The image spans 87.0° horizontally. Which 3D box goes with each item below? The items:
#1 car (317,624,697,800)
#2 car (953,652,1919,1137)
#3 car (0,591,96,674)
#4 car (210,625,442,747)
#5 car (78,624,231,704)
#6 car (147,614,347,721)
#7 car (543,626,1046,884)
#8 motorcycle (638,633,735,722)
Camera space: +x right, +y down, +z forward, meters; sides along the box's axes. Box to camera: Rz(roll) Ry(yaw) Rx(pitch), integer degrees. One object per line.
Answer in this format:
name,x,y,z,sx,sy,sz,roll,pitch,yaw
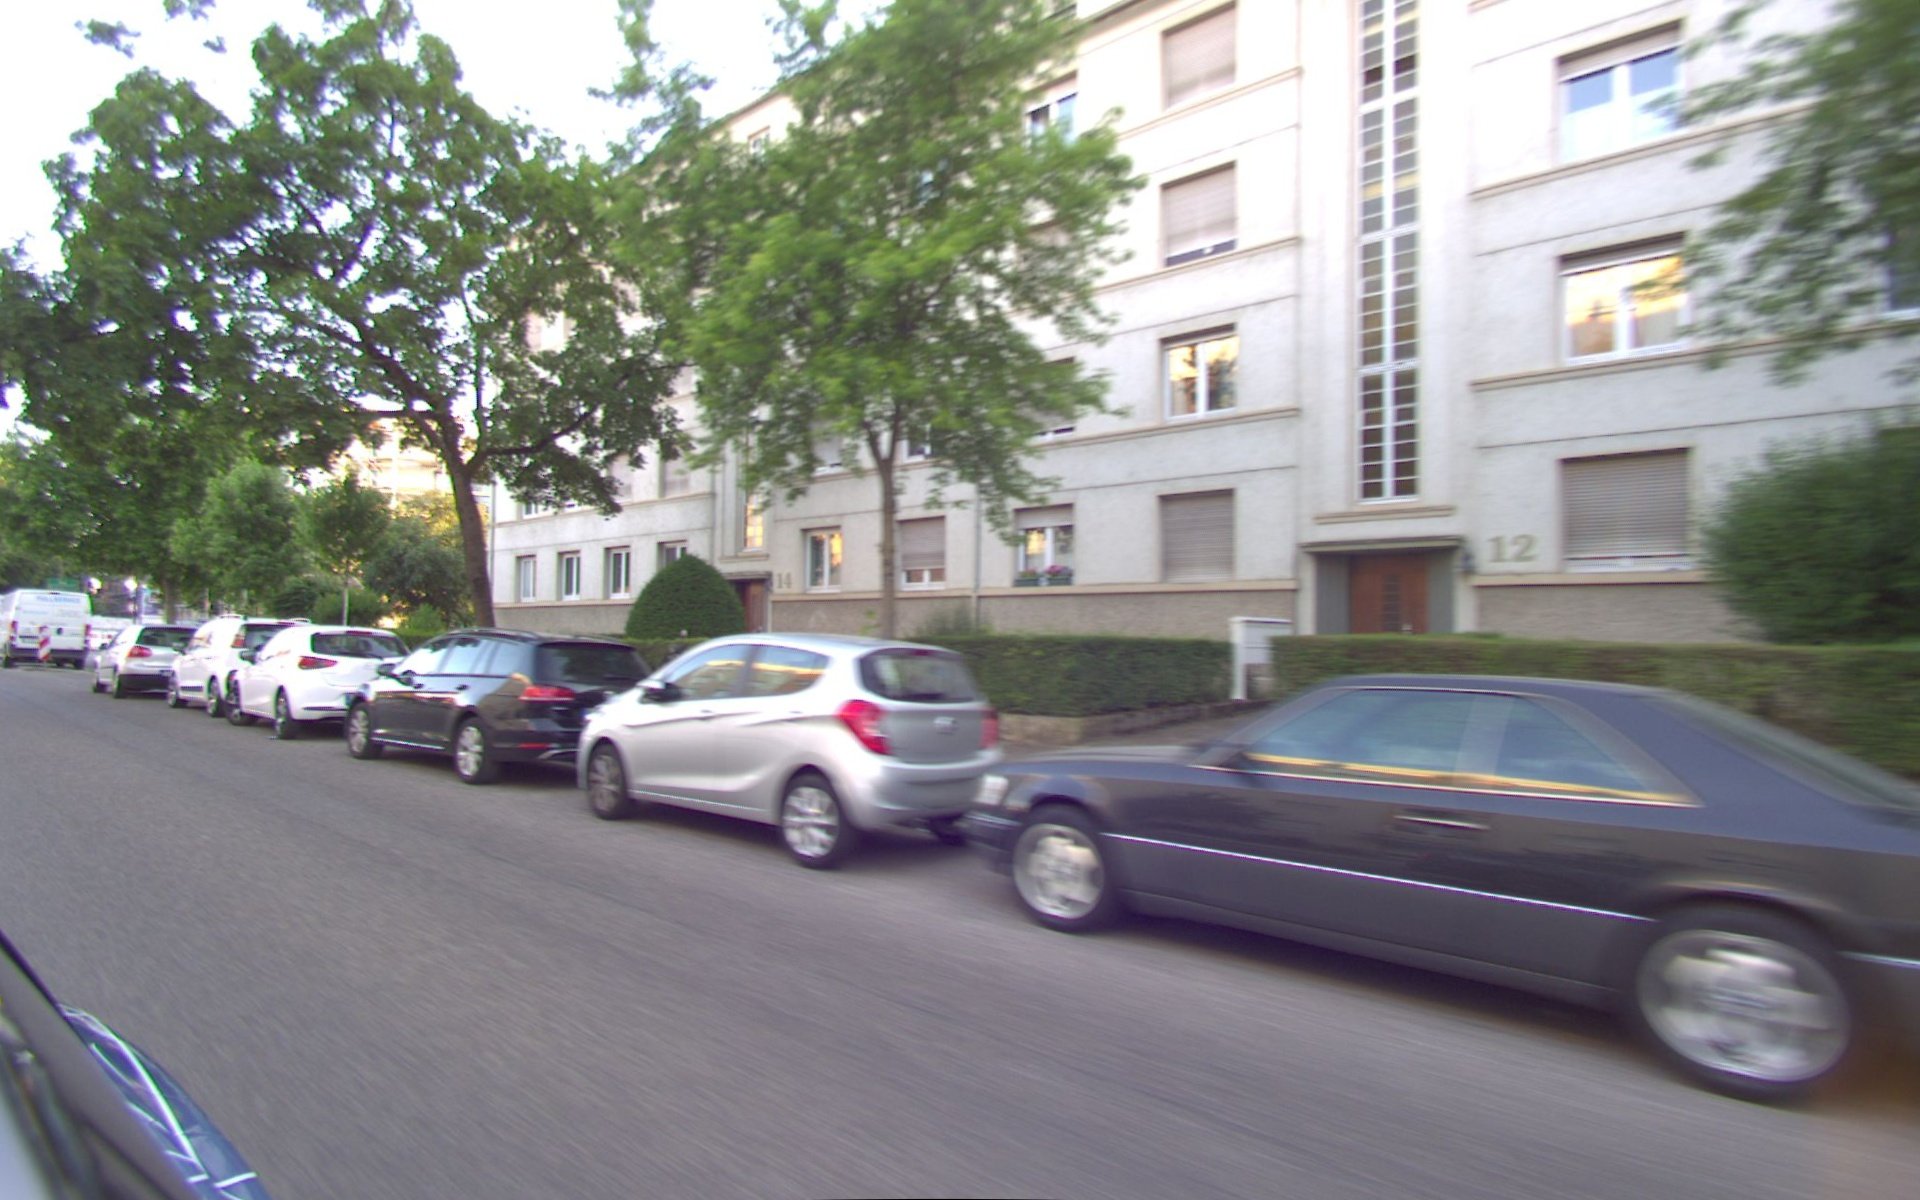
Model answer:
car,-4.974,1.063,10.786,4.674,1.491,1.735,-1,-6,40
car,2.257,0.977,4.514,4.576,1.342,1.657,-1,-6,40
car,-31.099,1.122,33.986,6.100,2.480,2.156,-1,-6,41
car,-9.082,1.163,14.383,3.944,1.491,1.733,-2,-6,43
car,-16.796,1.302,21.033,4.223,1.483,1.733,-2,-6,42
car,-12.442,1.152,17.585,4.104,1.644,1.735,-1,-6,40
car,-1.368,0.986,7.648,3.701,1.471,1.658,-1,-6,39
motorcycle,-4.408,1.210,16.237,1.828,1.335,0.580,-1,-3,41
